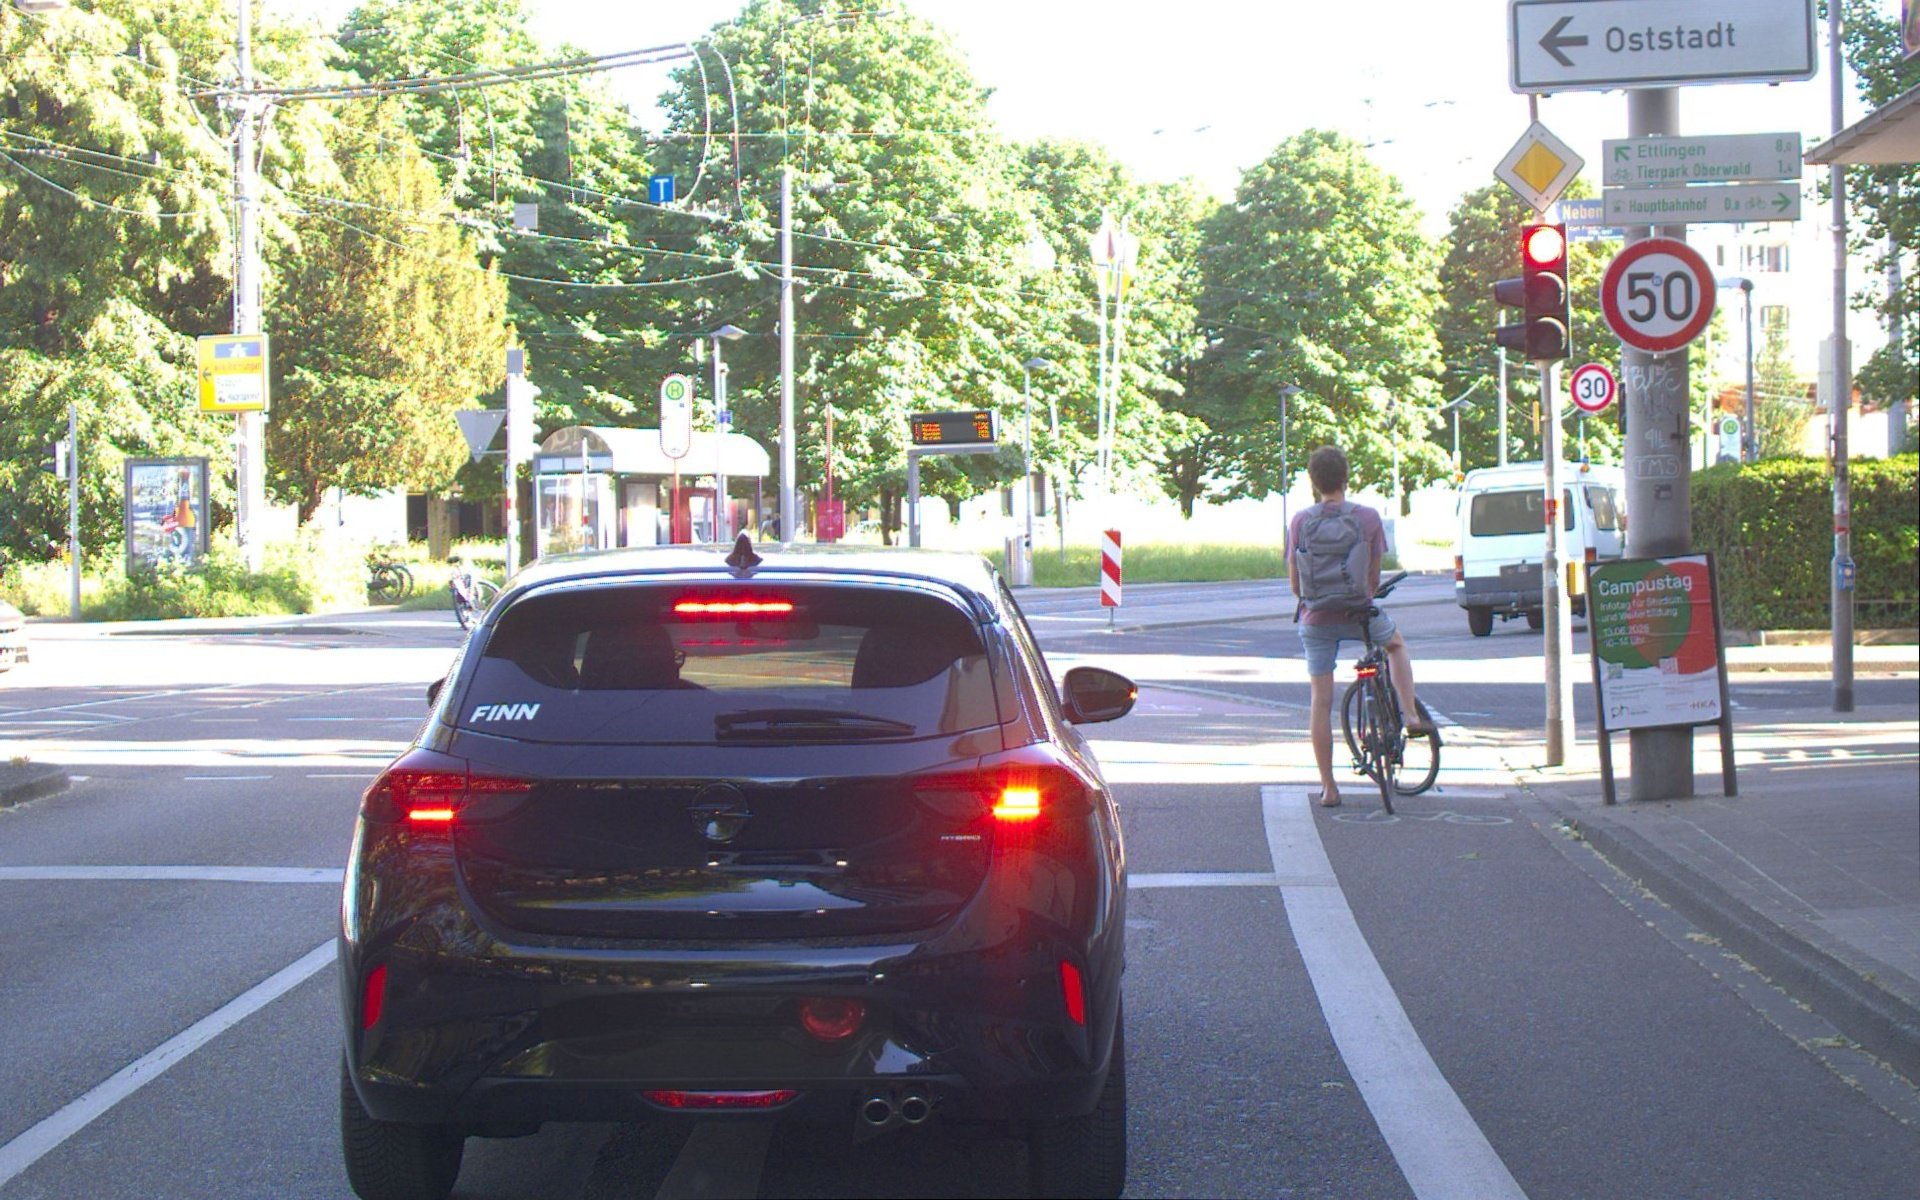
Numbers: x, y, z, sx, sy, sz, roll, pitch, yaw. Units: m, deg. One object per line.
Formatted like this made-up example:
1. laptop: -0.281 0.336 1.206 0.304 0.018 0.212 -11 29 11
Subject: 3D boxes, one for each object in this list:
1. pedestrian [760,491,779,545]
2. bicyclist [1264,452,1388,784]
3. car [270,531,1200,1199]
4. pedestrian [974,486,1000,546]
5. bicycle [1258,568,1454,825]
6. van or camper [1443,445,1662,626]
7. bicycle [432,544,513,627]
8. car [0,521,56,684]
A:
1. pedestrian: -6.701 -2.877 121.009 0.603 1.865 0.519 1 0 -6
2. bicyclist: 1.900 0.083 17.797 0.534 1.686 0.567 0 1 17
3. car: -0.469 0.565 8.809 1.840 1.457 3.984 0 1 -1
4. pedestrian: 0.841 -2.637 107.734 0.603 1.865 0.519 1 0 -27
5. bicycle: 2.094 0.467 17.974 0.753 1.231 2.014 0 1 14
6. van or camper: 8.031 -0.848 46.258 2.031 2.302 4.535 1 1 21
7. bicycle: -6.549 -0.211 46.270 0.796 1.061 2.185 -1 1 -1
8. car: -11.019 -0.001 31.881 4.727 1.468 1.939 0 1 5
